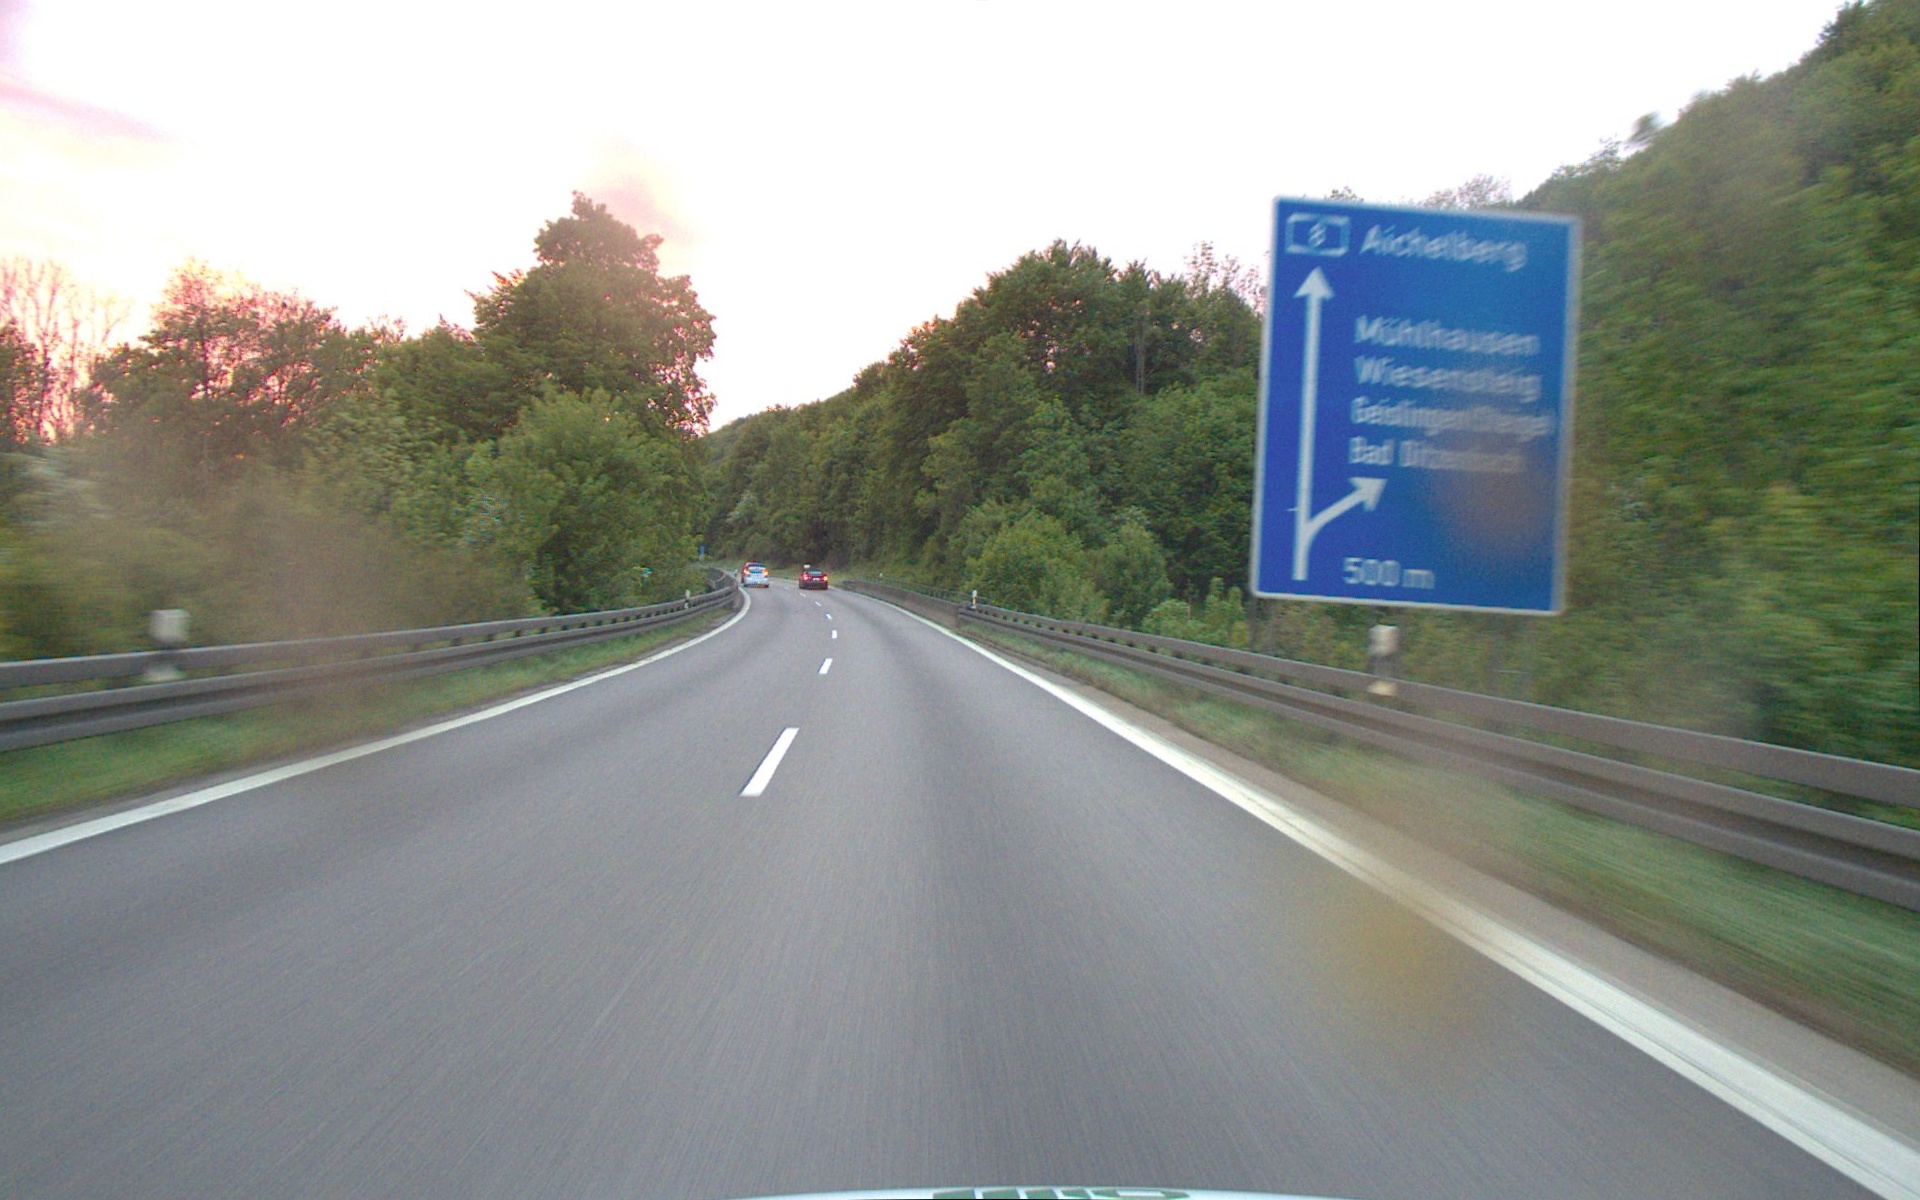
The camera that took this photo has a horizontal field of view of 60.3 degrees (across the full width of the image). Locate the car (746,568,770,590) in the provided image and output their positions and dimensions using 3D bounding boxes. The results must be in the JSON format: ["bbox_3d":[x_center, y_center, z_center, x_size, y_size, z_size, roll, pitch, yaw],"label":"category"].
[{"bbox_3d":[-14.964,-1.531,122.456,1.685,1.528,3.994,2,-1,-7],"label":"car"}]

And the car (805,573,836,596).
[{"bbox_3d":[-10.221,-1.145,121.202,1.840,1.492,4.000,-3,-1,1],"label":"car"}]
